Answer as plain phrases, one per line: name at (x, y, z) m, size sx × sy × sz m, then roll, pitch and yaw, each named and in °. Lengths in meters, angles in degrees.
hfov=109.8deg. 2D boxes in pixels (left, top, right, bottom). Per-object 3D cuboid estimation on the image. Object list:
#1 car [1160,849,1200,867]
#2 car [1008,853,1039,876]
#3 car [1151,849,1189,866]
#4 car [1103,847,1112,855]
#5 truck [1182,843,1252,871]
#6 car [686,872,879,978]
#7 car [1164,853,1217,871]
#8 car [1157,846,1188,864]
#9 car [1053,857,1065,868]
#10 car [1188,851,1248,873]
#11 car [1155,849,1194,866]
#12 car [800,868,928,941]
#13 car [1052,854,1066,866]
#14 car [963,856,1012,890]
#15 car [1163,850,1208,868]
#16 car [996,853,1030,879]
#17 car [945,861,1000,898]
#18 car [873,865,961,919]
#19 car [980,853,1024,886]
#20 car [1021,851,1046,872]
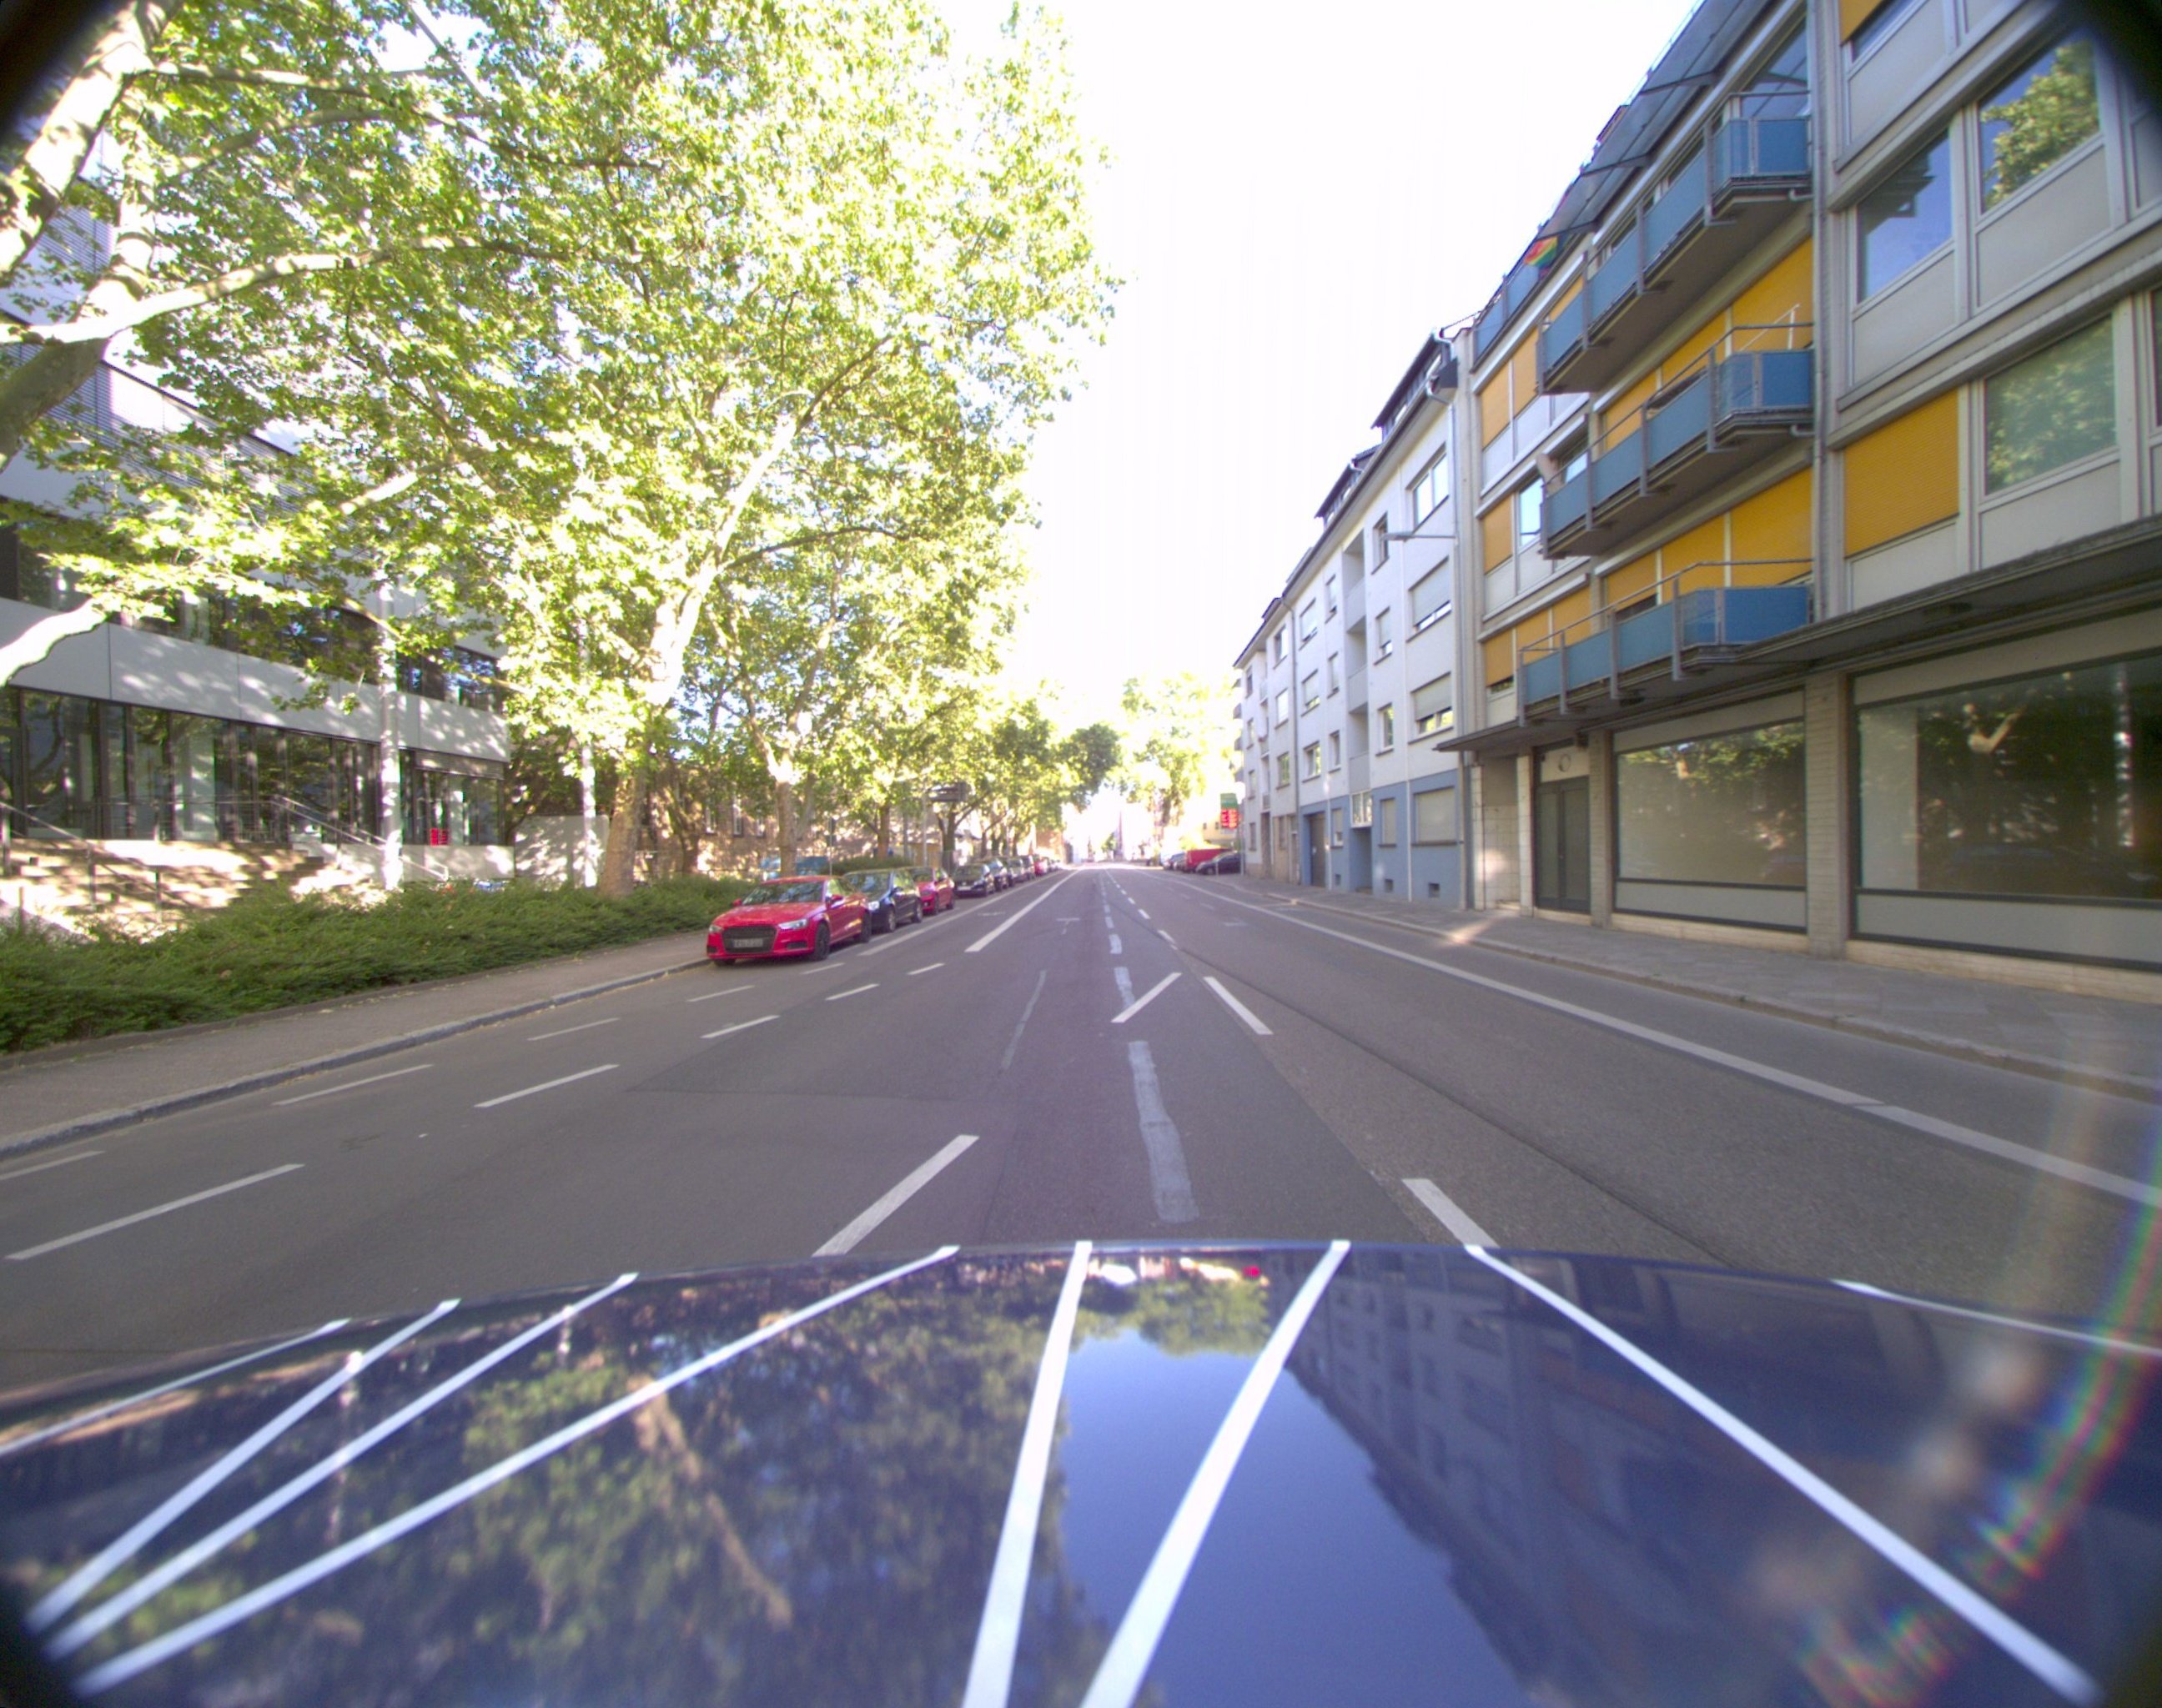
car at (9.874, 0.372, 75.912) m, size 3.658 × 1.578 × 1.659 m, roll -2°, pitch 1°, yaw -5°
car at (-4.174, 0.744, 55.511) m, size 1.831 × 1.608 × 4.177 m, roll -1°, pitch 0°, yaw 1°
car at (9.480, 0.364, 80.861) m, size 3.728 × 1.579 × 1.743 m, roll -2°, pitch 1°, yaw -5°
car at (6.755, -0.807, 193.463) m, size 1.998 × 2.002 × 3.999 m, roll -2°, pitch 1°, yaw 1°
truck at (10.722, 0.229, 60.097) m, size 5.088 × 2.009 × 2.000 m, roll -2°, pitch 1°, yaw 0°
car at (-5.123, 1.139, 13.706) m, size 1.775 × 1.416 × 4.173 m, roll -3°, pitch 0°, yaw 0°
car at (9.037, 0.671, 62.809) m, size 4.033 × 1.265 × 1.906 m, roll -2°, pitch 1°, yaw -1°
car at (10.223, 0.098, 85.238) m, size 3.267 × 1.927 × 1.693 m, roll -2°, pitch 1°, yaw 2°
car at (-2.634, 1.021, 92.453) m, size 1.300 × 1.220 × 3.241 m, roll -1°, pitch 0°, yaw 0°
car at (9.857, 0.569, 54.845) m, size 3.997 × 1.385 × 1.781 m, roll -2°, pitch 1°, yaw -1°
car at (9.609, 0.369, 78.570) m, size 3.703 × 1.573 × 1.718 m, roll -2°, pitch 1°, yaw -5°
car at (-5.068, 1.117, 18.334) m, size 1.813 × 1.449 × 4.000 m, roll -1°, pitch 0°, yaw 2°
car at (-2.961, 0.809, 102.789) m, size 1.707 × 1.459 × 3.809 m, roll -1°, pitch 0°, yaw 0°
car at (-4.627, 0.915, 38.210) m, size 1.848 × 1.572 × 4.232 m, roll -2°, pitch 0°, yaw 1°
car at (10.079, 0.456, 73.366) m, size 3.998 × 1.618 × 1.702 m, roll -2°, pitch 1°, yaw -5°
car at (-4.445, 0.733, 50.455) m, size 1.798 × 1.608 × 4.075 m, roll -1°, pitch 0°, yaw 1°
car at (-4.681, 1.076, 33.264) m, size 1.745 × 1.430 × 4.000 m, roll -1°, pitch 0°, yaw 1°
car at (-4.991, 1.103, 23.697) m, size 1.790 × 1.429 × 4.000 m, roll -1°, pitch 0°, yaw 1°
car at (-4.550, 0.862, 44.194) m, size 1.998 × 1.715 × 4.262 m, roll -2°, pitch 1°, yaw 1°
car at (-4.113, 0.609, 66.181) m, size 1.876 × 1.685 × 4.166 m, roll -1°, pitch 0°, yaw 1°
